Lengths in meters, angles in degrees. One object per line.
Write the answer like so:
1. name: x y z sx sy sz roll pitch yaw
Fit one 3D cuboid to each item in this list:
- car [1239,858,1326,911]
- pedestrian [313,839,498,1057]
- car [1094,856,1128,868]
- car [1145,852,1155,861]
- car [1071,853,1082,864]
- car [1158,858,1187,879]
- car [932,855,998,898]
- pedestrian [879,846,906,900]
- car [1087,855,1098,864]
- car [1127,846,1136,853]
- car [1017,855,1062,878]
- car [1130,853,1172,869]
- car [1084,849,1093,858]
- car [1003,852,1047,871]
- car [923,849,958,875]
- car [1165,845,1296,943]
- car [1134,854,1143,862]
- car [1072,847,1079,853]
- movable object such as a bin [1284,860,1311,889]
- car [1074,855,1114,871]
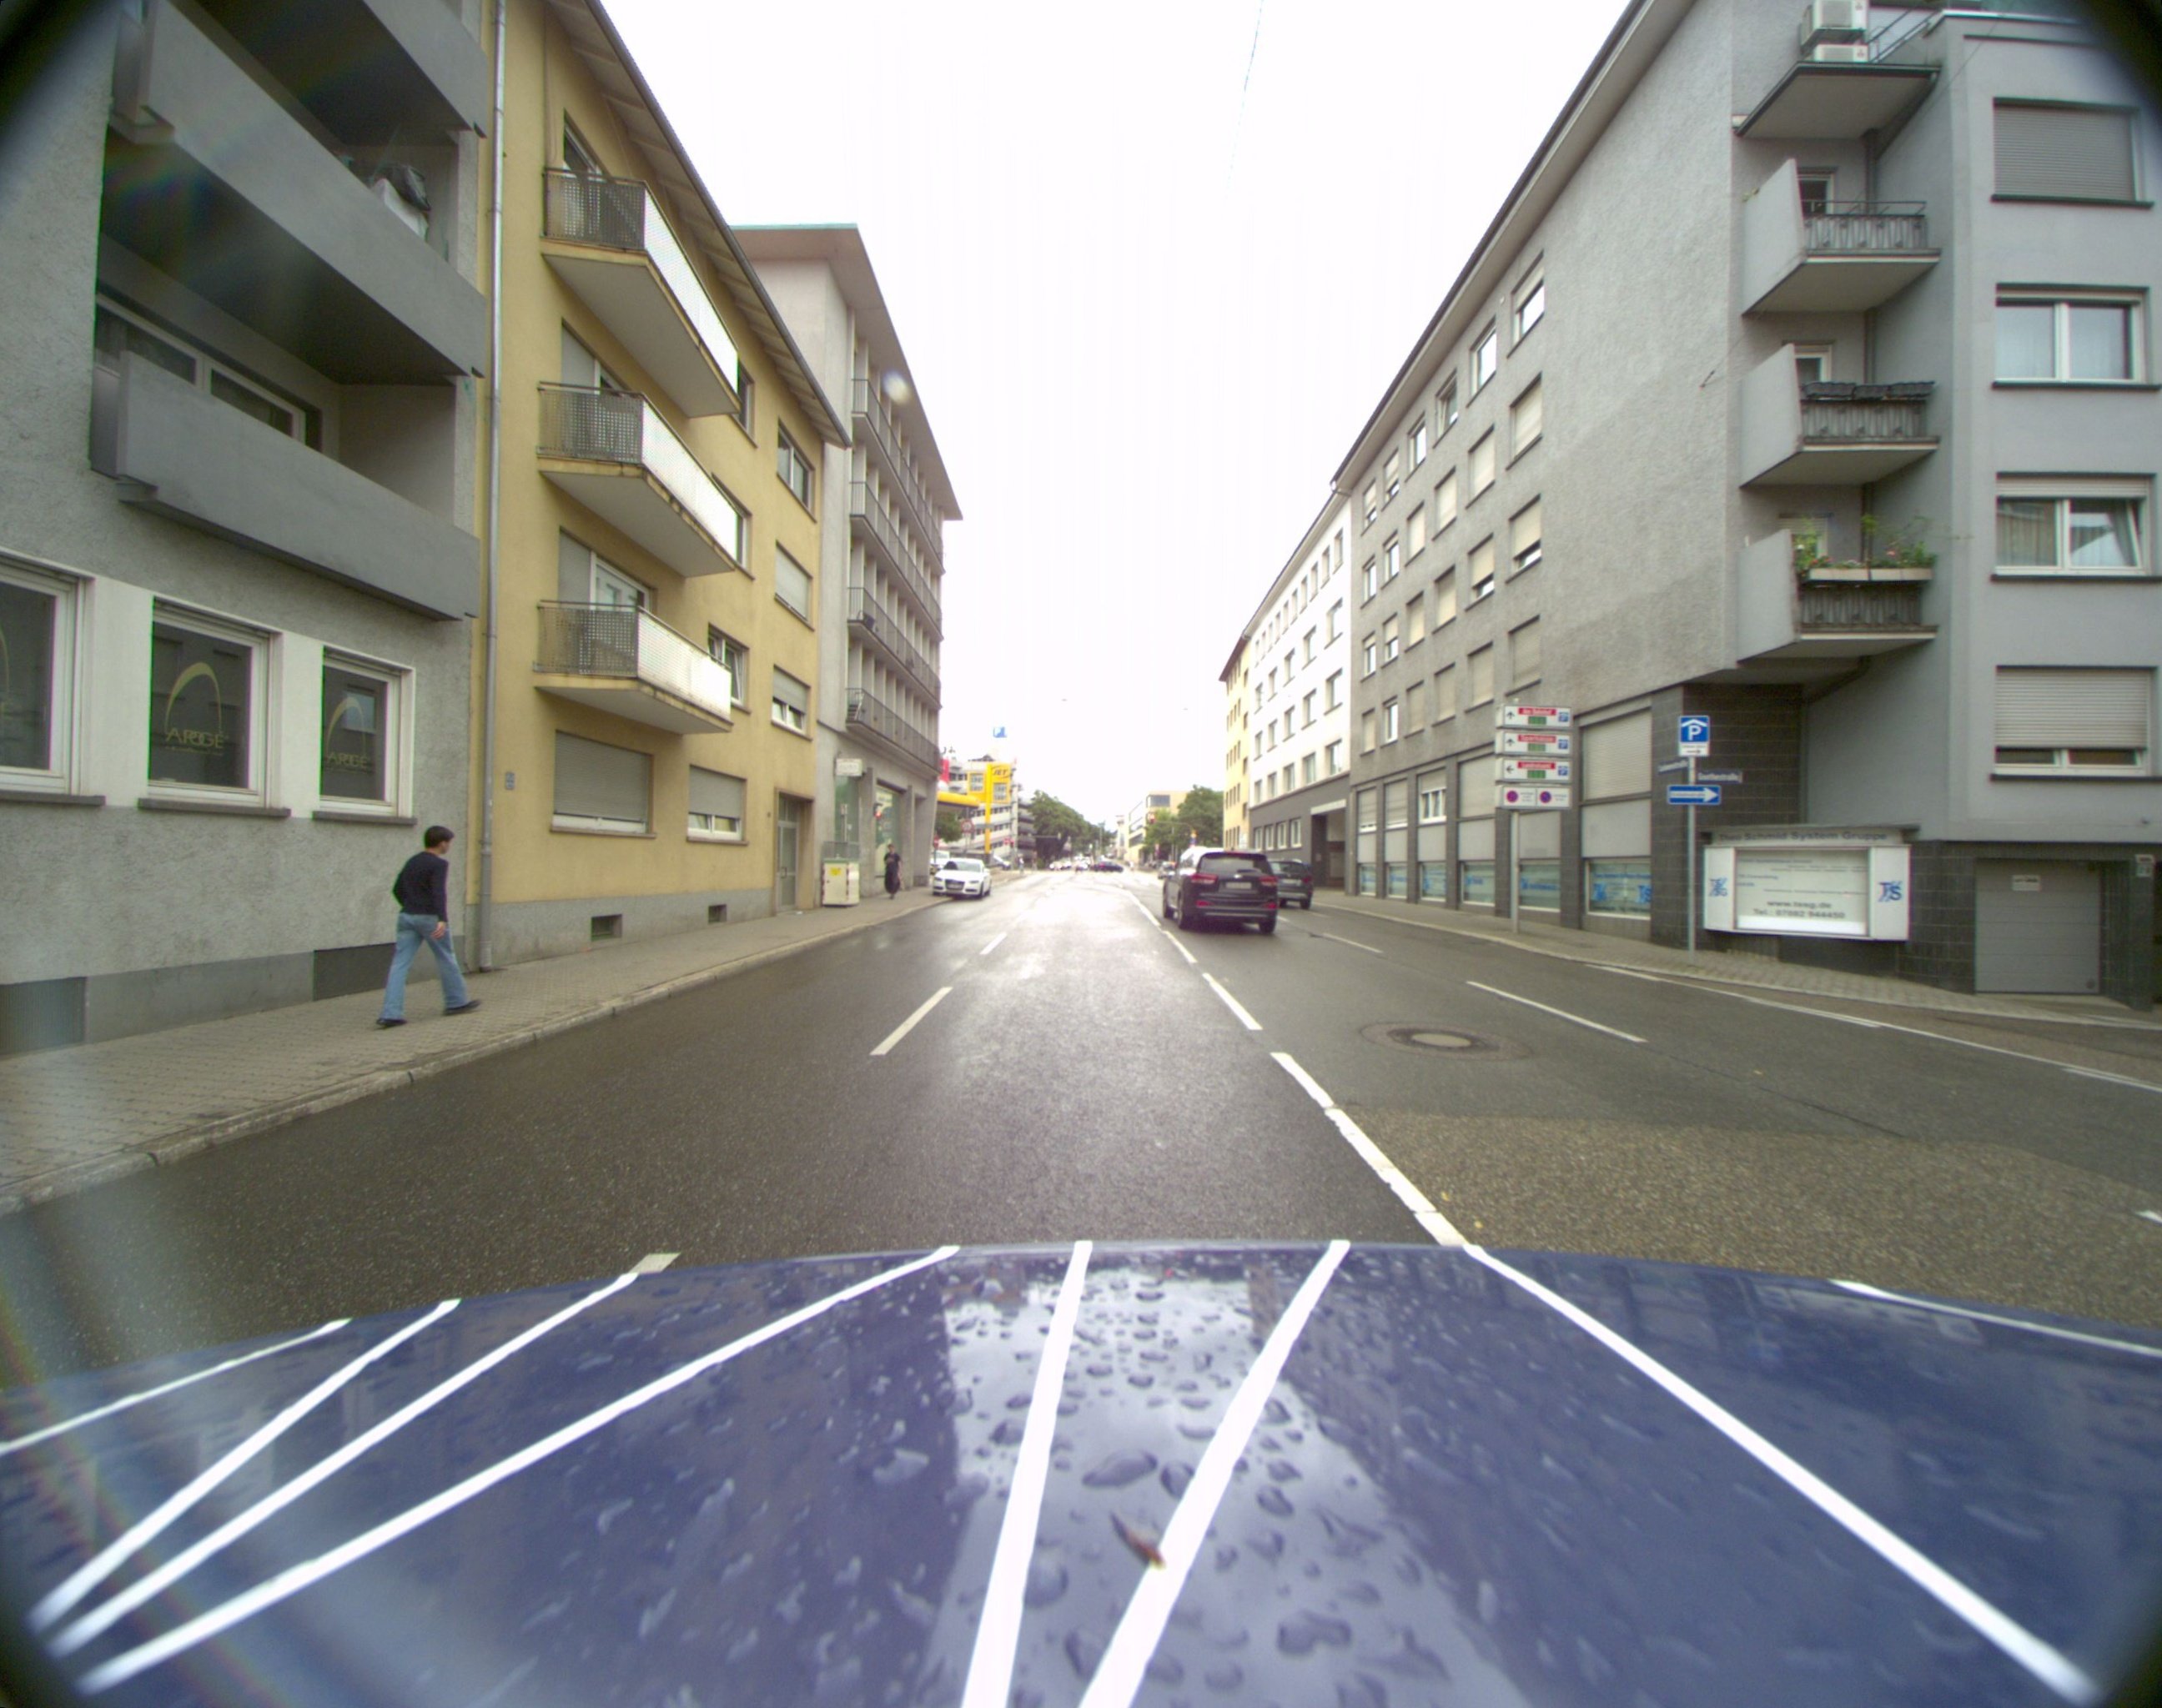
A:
1. car: 6.510 0.939 25.007 1.707 1.498 4.159 3 0 0
2. pedestrian: -5.949 0.769 6.765 0.644 1.768 1.056 3 1 0
3. car: 3.836 1.028 97.802 4.006 1.499 1.734 1 1 -26
4. car: 15.455 0.600 170.065 1.998 1.863 3.999 -2 1 0
5. car: -0.929 0.896 148.340 1.998 2.002 3.999 -2 1 0
6. car: 7.420 1.168 62.141 1.883 1.580 4.373 0 0 1
7. car: -4.364 0.808 29.077 1.803 1.427 4.166 1 0 1
8. pedestrian: -6.152 0.613 24.835 0.679 1.745 0.888 1 1 -2
9. car: 2.272 1.080 153.354 1.999 1.736 3.999 -2 1 -1
10. car: 12.858 -1.097 192.903 1.998 1.683 4.000 -2 1 2
11. car: -3.736 1.120 68.456 3.794 1.823 1.692 -3 0 2
12. car: 6.847 0.702 74.384 3.996 1.499 1.738 1 1 2
13. car: 1.787 -0.058 186.412 1.998 2.002 3.999 -2 1 1
14. car: -5.584 0.724 76.077 3.994 1.751 2.001 1 1 9
15. car: -8.785 0.470 47.692 1.771 1.465 3.998 -2 0 -6
16. car: 2.971 0.718 16.095 1.841 1.717 4.474 3 0 0
17. car: 13.897 0.881 183.025 1.998 1.683 4.000 -2 1 2
18. car: -1.880 -1.335 257.738 1.998 1.827 3.999 -2 1 1
19. movable object such as a bin: 10.480 0.999 36.820 0.946 1.325 1.096 -3 1 1
20. car: 1.339 0.922 76.754 3.996 1.499 1.738 1 1 2
